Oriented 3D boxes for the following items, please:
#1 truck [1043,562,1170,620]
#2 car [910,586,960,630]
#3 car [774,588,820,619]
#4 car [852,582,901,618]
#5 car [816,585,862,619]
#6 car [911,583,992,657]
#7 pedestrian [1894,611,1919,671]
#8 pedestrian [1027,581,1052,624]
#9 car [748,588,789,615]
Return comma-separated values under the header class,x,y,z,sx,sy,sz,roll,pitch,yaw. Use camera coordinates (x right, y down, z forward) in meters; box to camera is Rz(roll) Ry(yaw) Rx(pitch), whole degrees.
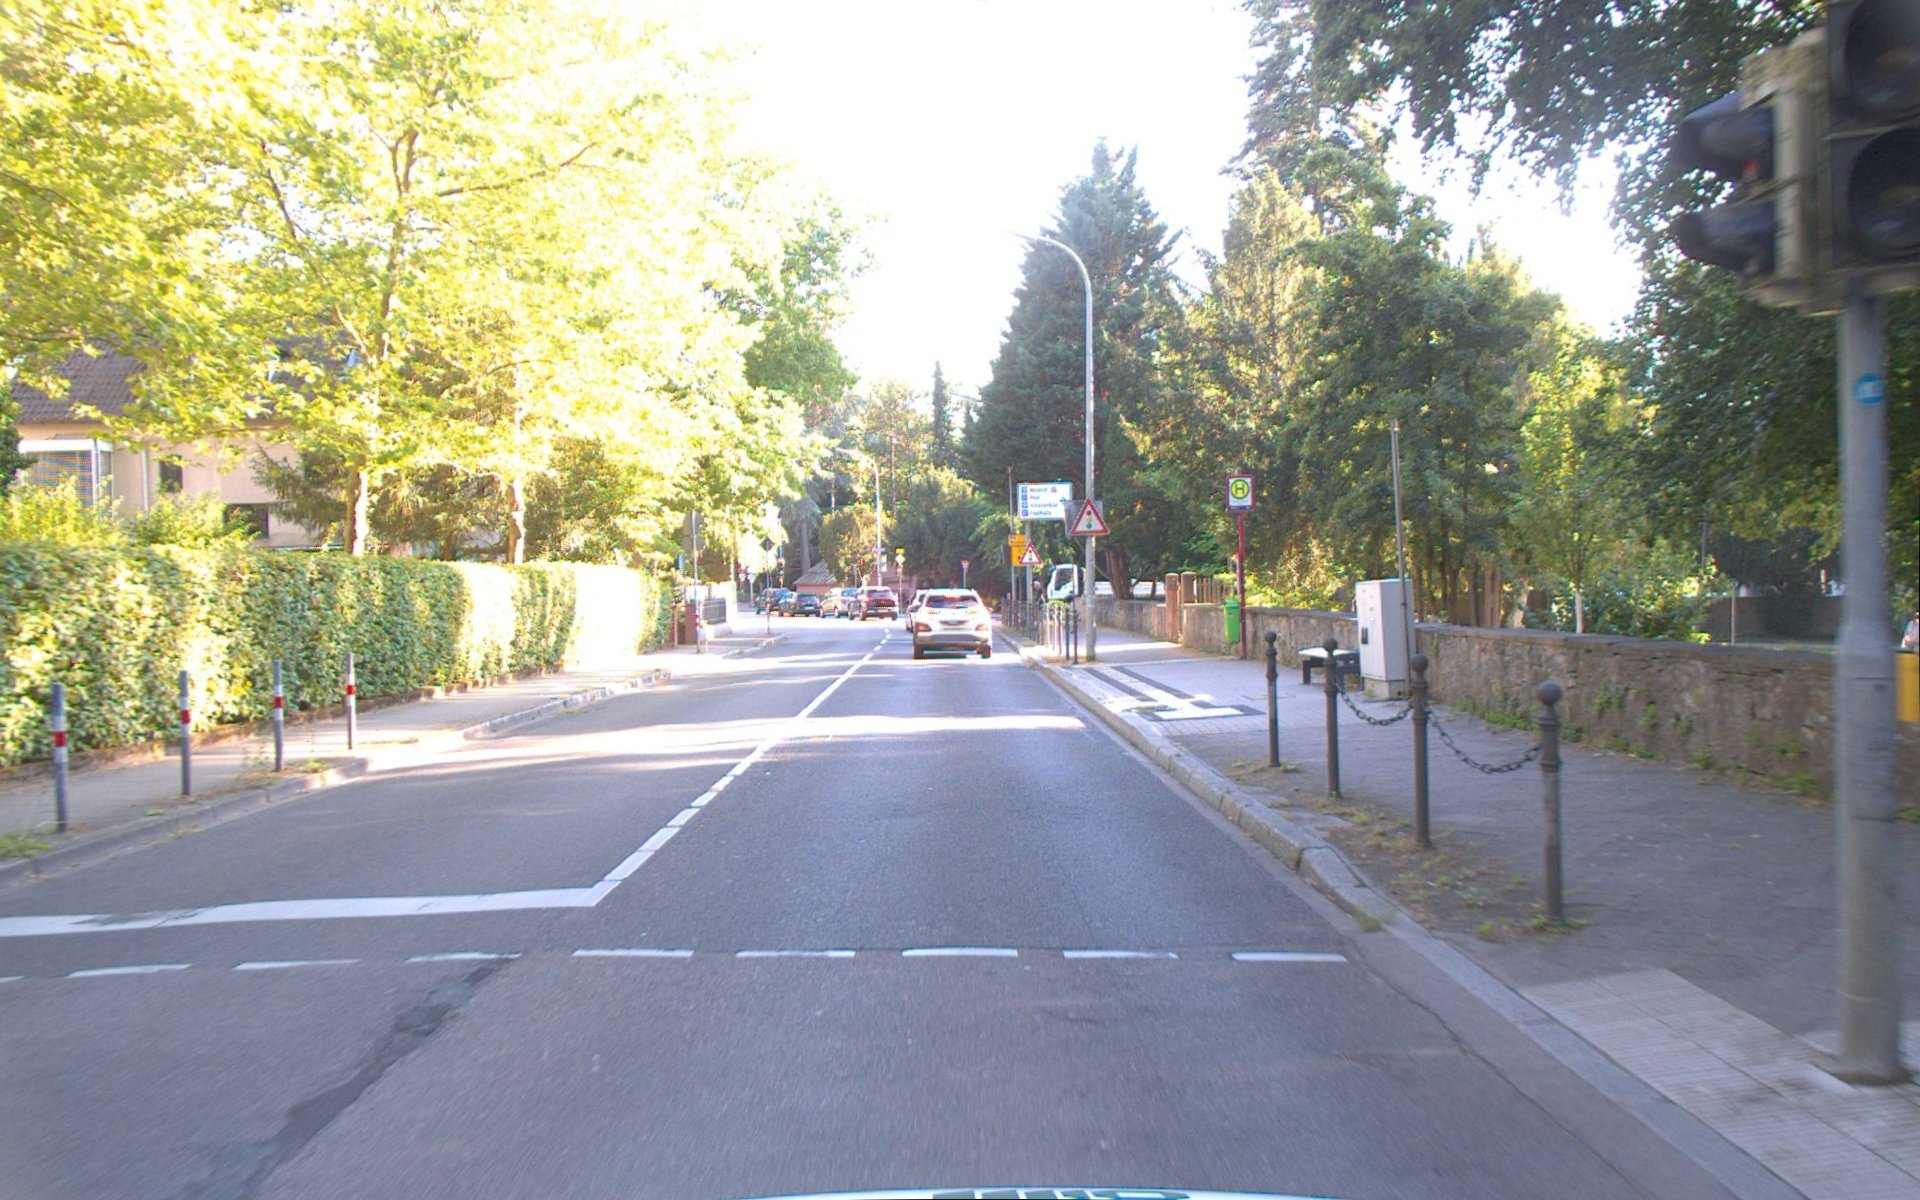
class,x,y,z,sx,sy,sz,roll,pitch,yaw
truck,7.593,-0.476,86.206,6.449,2.945,2.434,1,0,4
car,-0.972,0.280,61.152,1.769,1.564,3.999,1,0,-2
car,-9.412,0.196,95.380,1.803,1.691,3.979,2,0,-18
car,-4.107,-0.016,80.558,1.799,1.691,3.988,1,0,-12
car,-6.487,0.079,88.217,1.801,1.771,3.985,1,0,-14
car,-0.235,0.438,39.120,1.783,1.601,3.999,1,0,-2
pedestrian,26.532,1.136,46.104,0.602,1.669,0.636,1,0,0
pedestrian,3.460,0.100,71.830,0.934,1.858,0.546,0,2,-40
car,-12.224,0.101,105.549,1.804,1.691,3.978,1,0,-19
